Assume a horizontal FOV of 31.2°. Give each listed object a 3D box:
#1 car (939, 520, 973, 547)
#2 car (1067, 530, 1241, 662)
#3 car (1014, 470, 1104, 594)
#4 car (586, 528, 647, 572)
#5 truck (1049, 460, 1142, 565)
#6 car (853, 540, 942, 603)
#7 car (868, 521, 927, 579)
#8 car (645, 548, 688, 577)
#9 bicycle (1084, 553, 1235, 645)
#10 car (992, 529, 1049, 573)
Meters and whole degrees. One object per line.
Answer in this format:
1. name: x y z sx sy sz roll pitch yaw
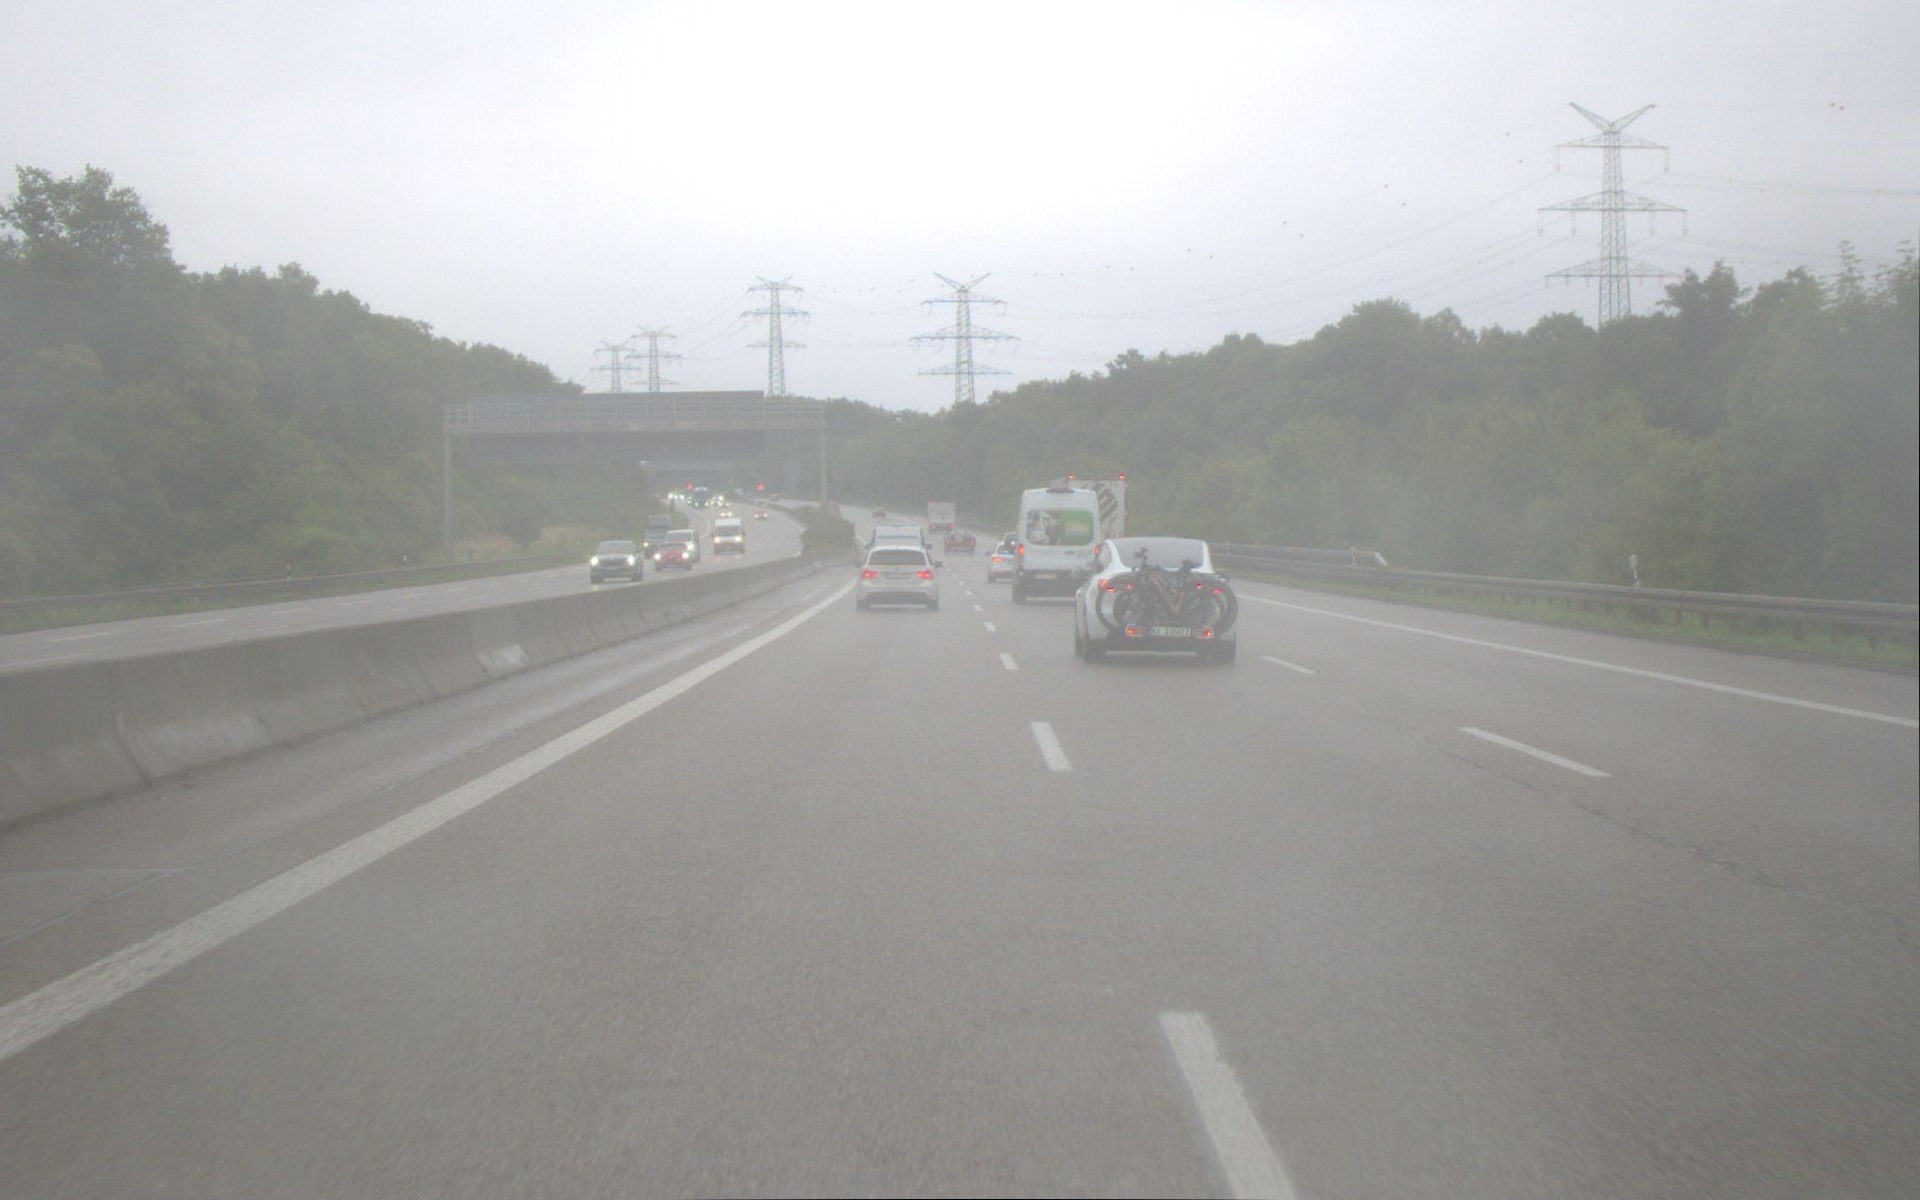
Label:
1. car: -0.267 -4.106 212.687 1.993 1.568 4.000 -1 1 -1
2. car: 2.447 -0.103 44.429 1.860 1.562 4.964 1 1 -1
3. car: 2.359 -1.632 82.829 1.993 2.854 4.000 -1 1 0
4. car: -13.705 -1.994 137.416 1.993 1.682 4.917 -1 1 -1
5. truck: 5.772 -3.781 149.086 3.603 4.317 13.200 0 1 0
6. car: -1.369 -0.633 74.867 1.866 1.284 4.000 -1 1 -1
7. car: -2.019 -1.594 110.900 1.846 1.766 4.000 1 0 -1
8. car: -14.642 -1.875 171.598 1.634 1.407 4.367 -1 1 1
9. bicycle: 2.400 -0.015 41.485 1.753 1.087 0.914 0 0 -1
10. car: 2.031 -1.670 116.614 1.857 1.417 4.000 0 2 0
